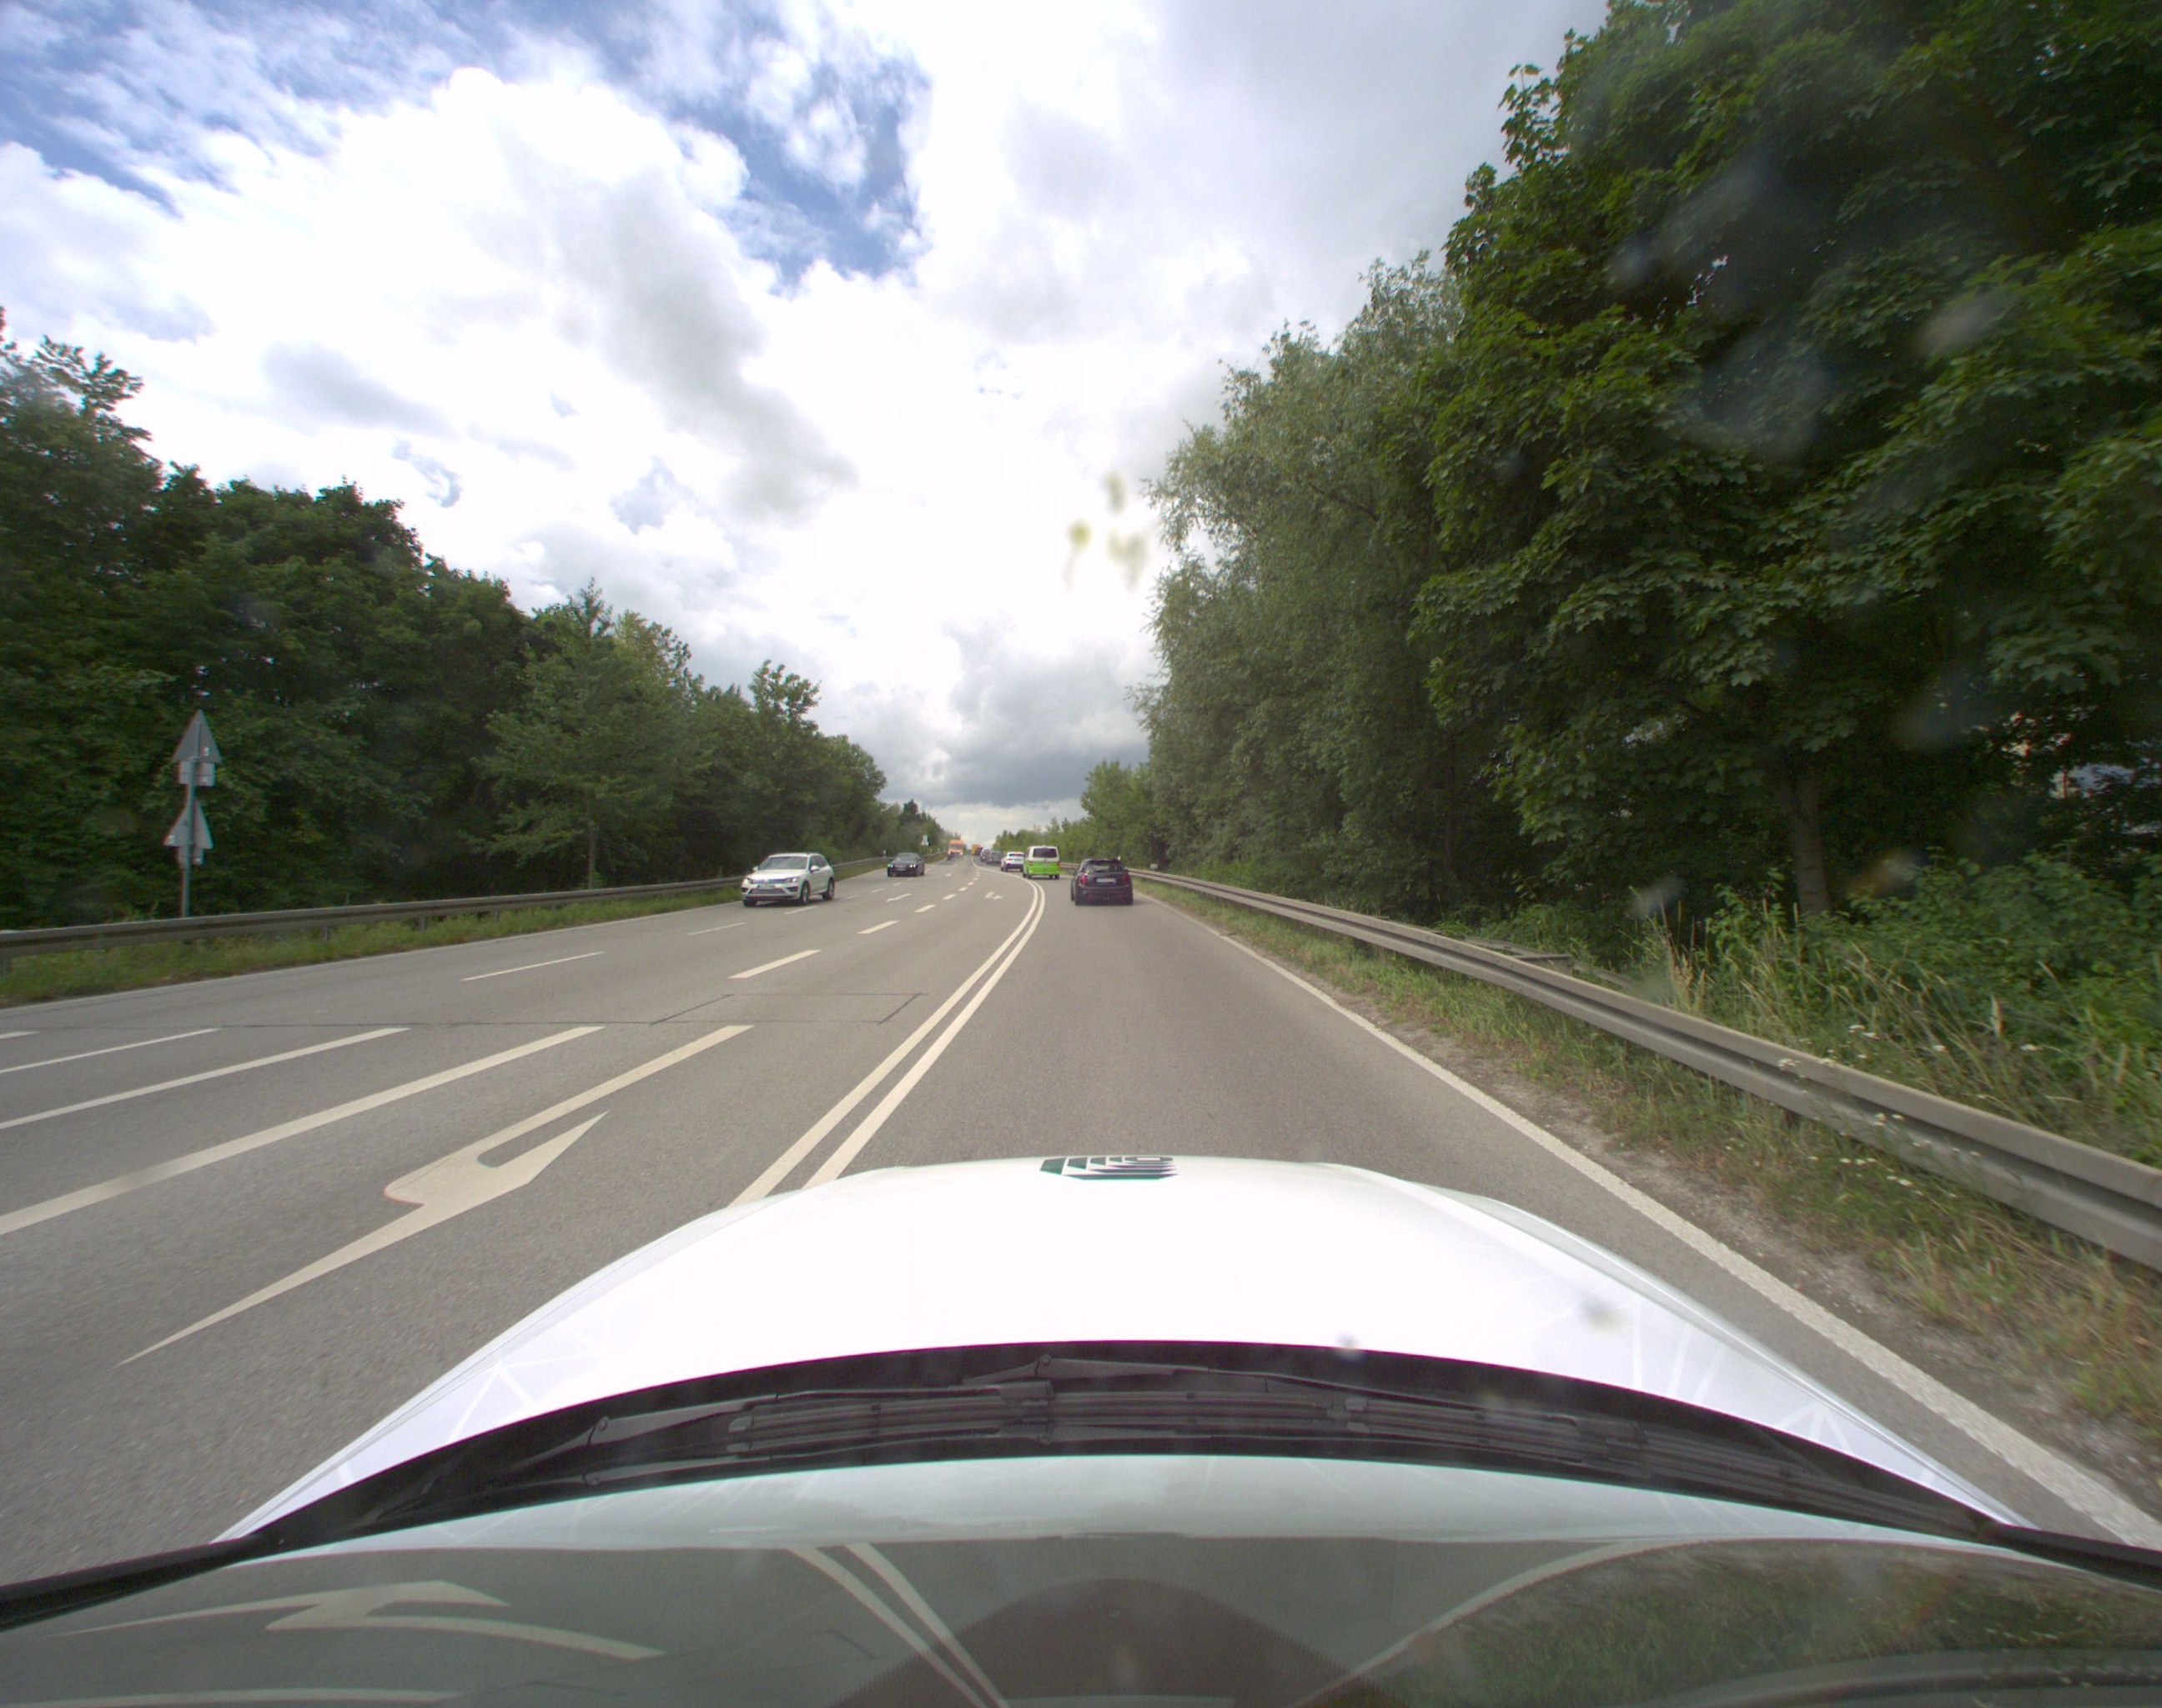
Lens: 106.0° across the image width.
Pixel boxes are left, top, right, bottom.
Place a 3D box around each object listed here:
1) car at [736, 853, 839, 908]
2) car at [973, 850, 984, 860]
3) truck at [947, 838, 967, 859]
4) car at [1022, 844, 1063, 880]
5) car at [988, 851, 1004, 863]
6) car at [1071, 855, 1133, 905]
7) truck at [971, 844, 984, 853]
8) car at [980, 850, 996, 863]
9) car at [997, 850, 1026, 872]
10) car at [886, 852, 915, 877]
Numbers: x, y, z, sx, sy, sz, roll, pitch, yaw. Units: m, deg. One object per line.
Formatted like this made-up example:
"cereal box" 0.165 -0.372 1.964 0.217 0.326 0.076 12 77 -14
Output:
"car" -9.691 0.798 27.297 1.853 1.643 4.733 -1 0 -2
"car" -20.337 0.197 161.281 1.992 1.798 3.989 0 0 -8
"truck" -16.006 -0.706 105.495 2.313 2.601 6.010 0 1 -6
"car" -2.358 0.436 48.719 2.022 2.013 3.987 -1 0 -10
"car" -9.363 0.328 89.354 1.692 1.222 3.992 -1 0 -6
"car" 0.581 0.748 25.764 1.727 1.456 3.997 0 0 -2
"truck" -27.062 -1.387 213.341 2.905 2.372 10.434 0 0 -5
"car" -11.880 0.324 103.888 1.878 1.618 3.989 -1 0 -8
"car" -5.495 0.504 64.091 1.988 1.618 4.140 -1 0 -9
"car" -11.490 0.618 51.953 1.719 1.498 4.529 -1 1 -12
